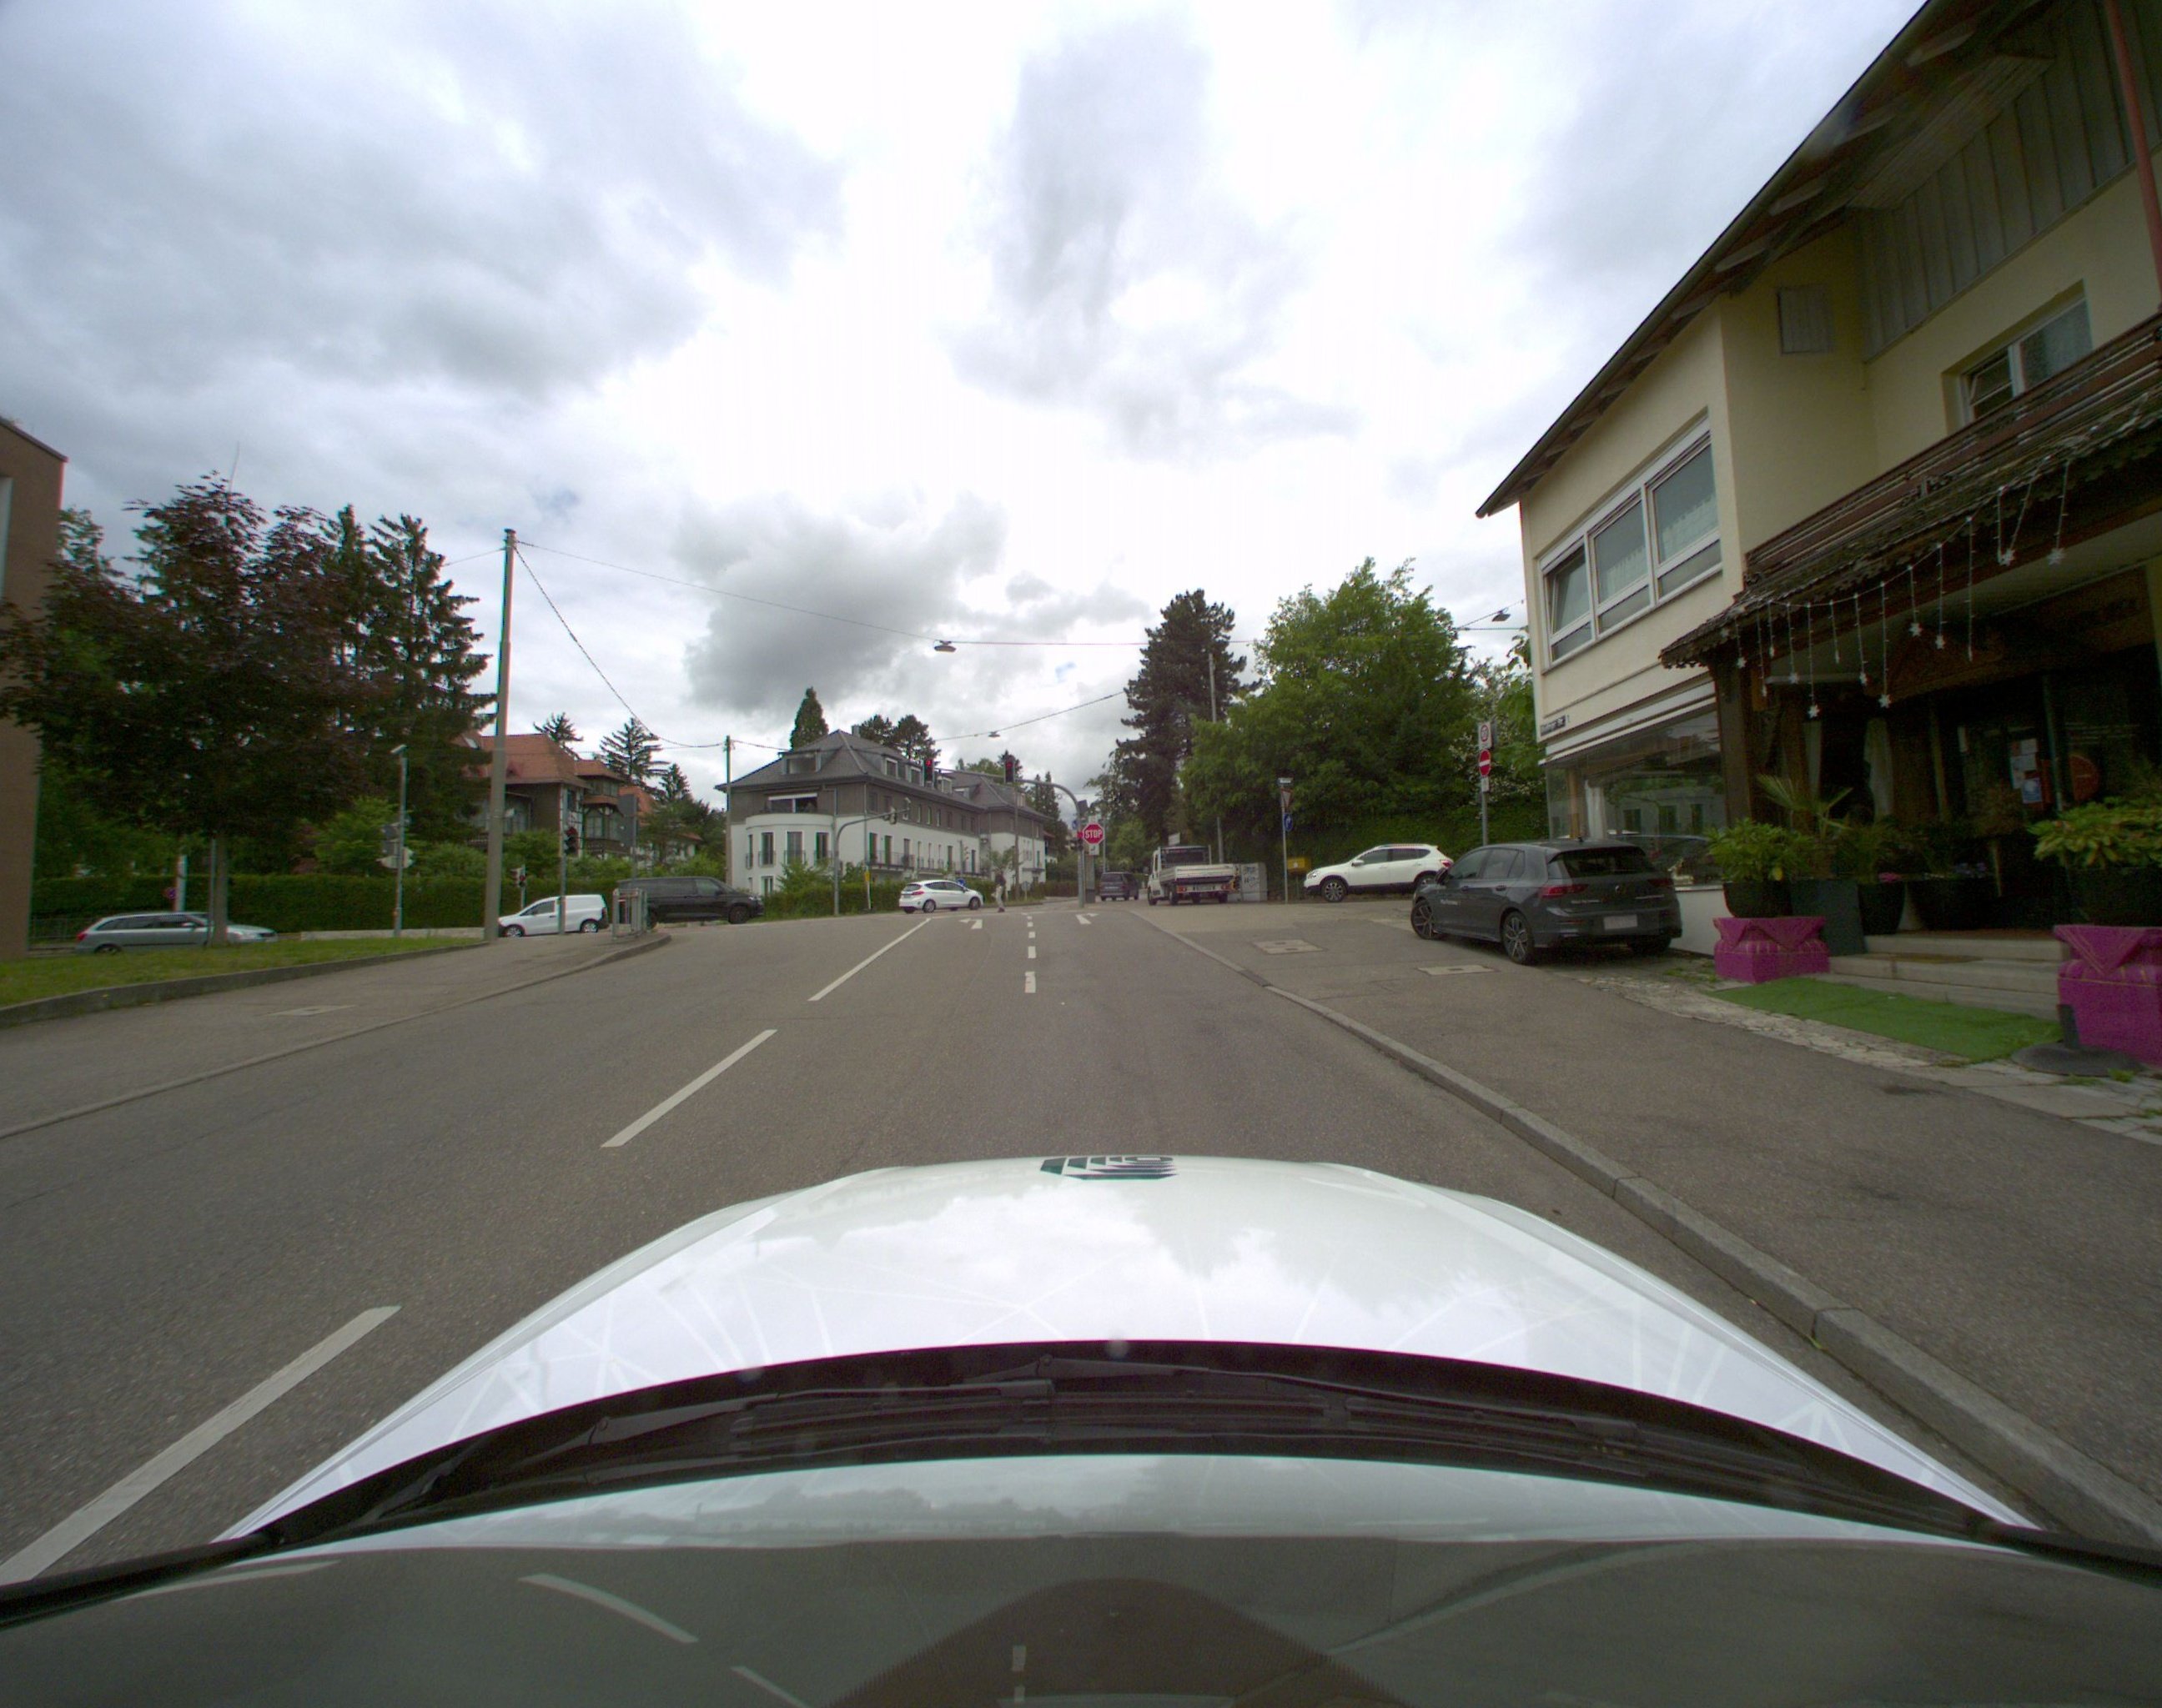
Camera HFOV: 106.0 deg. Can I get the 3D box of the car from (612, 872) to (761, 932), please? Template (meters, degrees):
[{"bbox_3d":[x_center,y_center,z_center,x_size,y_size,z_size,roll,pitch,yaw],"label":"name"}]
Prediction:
[{"bbox_3d":[-14.375,1.706,29.941,4.788,2.014,1.984,0,0,-25],"label":"car"}]

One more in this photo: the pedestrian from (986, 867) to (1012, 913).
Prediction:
[{"bbox_3d":[-3.110,1.356,30.893,0.702,1.682,0.679,-2,-1,-30],"label":"pedestrian"}]

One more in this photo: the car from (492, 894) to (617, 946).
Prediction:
[{"bbox_3d":[-22.661,2.778,35.126,4.374,1.857,1.977,-1,0,-38],"label":"car"}]

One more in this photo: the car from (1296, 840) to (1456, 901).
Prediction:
[{"bbox_3d":[8.651,0.545,24.159,4.207,1.594,1.996,-3,-4,17],"label":"car"}]

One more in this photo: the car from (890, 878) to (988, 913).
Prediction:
[{"bbox_3d":[-6.376,1.861,36.925,1.912,1.383,4.024,-3,-2,43],"label":"car"}]

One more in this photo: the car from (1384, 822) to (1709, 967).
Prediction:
[{"bbox_3d":[5.969,0.466,11.208,1.843,1.472,4.384,-4,-1,-1],"label":"car"}]

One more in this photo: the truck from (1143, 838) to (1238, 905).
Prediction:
[{"bbox_3d":[3.961,0.754,30.659,2.181,2.195,5.868,-2,-3,-6],"label":"truck"}]

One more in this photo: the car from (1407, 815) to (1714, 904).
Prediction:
[{"bbox_3d":[8.621,0.130,15.044,4.470,1.327,1.841,-3,-2,9],"label":"car"}]

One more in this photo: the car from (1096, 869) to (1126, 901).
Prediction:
[{"bbox_3d":[2.083,2.136,56.631,1.986,2.013,4.511,-2,0,2],"label":"car"}]

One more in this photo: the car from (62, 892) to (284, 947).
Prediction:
[{"bbox_3d":[-27.641,1.960,24.976,4.195,1.476,1.702,0,0,-19],"label":"car"}]
